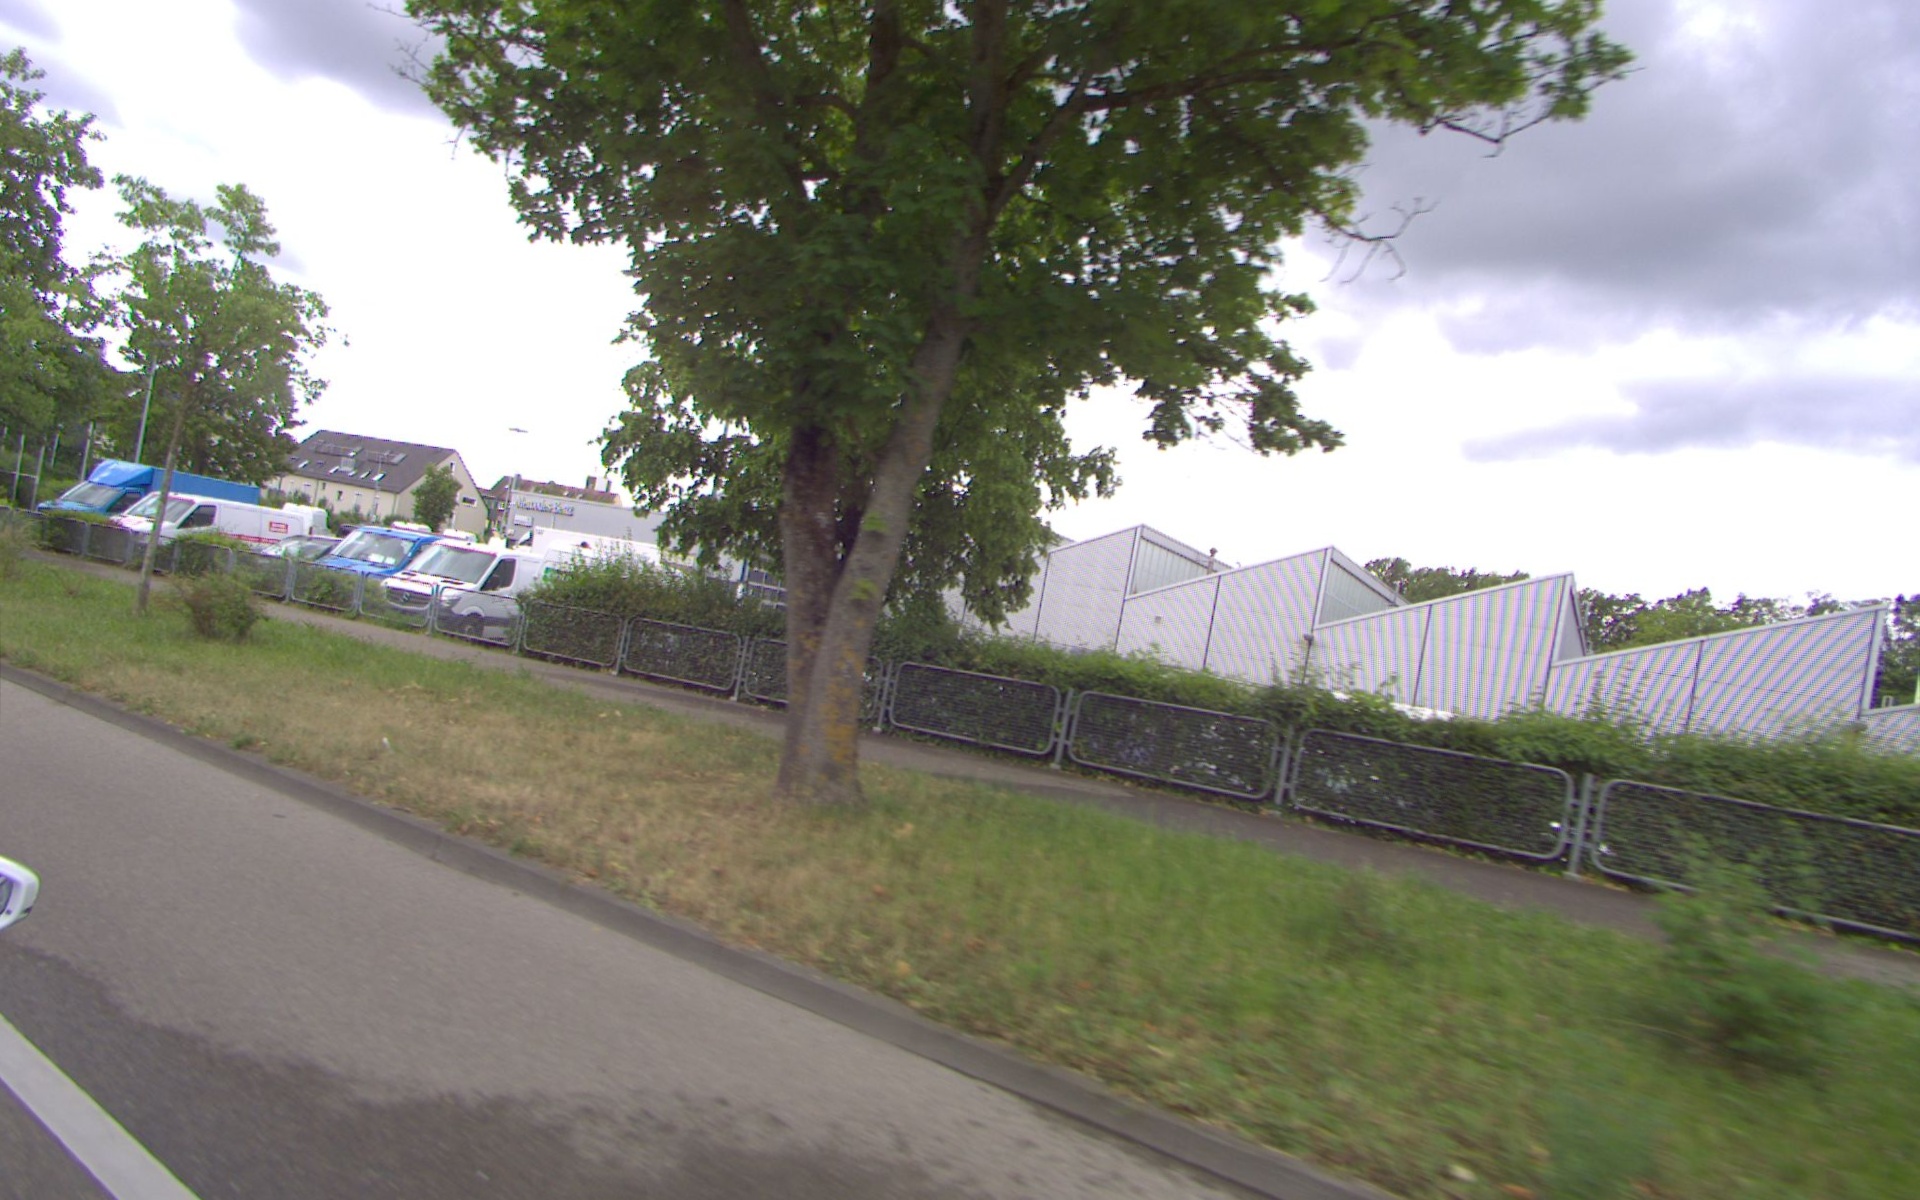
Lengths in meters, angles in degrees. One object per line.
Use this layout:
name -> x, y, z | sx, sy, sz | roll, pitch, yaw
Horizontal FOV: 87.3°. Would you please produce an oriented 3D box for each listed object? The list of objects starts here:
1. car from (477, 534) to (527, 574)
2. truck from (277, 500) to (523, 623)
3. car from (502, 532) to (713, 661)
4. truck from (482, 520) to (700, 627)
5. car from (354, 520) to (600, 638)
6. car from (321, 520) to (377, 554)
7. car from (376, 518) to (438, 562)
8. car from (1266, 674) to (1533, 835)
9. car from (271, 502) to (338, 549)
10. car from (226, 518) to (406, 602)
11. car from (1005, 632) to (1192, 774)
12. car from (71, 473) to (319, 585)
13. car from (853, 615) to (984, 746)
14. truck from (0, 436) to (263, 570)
car -> -35.888, -3.569, 78.952 | 2.228, 2.709, 5.432 | 9, 0, -14
truck -> -13.901, -0.788, 25.664 | 2.205, 2.236, 6.262 | 8, -3, 4
car -> -7.507, 0.087, 22.177 | 2.032, 2.212, 5.270 | 8, -3, 7
truck -> -16.885, -1.236, 45.984 | 9.363, 3.497, 2.866 | 7, -2, 20
car -> -11.010, -0.341, 23.627 | 2.032, 1.978, 5.837 | 8, -3, 10
car -> -42.239, -4.313, 69.614 | 2.035, 1.979, 4.481 | 9, 0, -17
car -> -39.834, -4.249, 72.635 | 2.228, 2.709, 5.432 | 9, 0, -14
car -> 7.547, 2.583, 17.919 | 2.037, 2.057, 4.574 | 9, -3, -8
car -> -44.104, -4.979, 67.828 | 2.232, 2.709, 5.423 | 9, 0, -20
car -> -17.443, -1.014, 27.515 | 1.963, 1.647, 4.006 | 8, -3, 4
car -> 2.414, 1.780, 18.891 | 2.037, 2.057, 4.574 | 9, -3, -8
car -> -23.472, -2.051, 31.334 | 2.317, 2.393, 6.040 | 8, -3, 8
car -> -0.619, 1.426, 18.545 | 1.887, 1.864, 4.361 | 8, -3, 2
truck -> -29.491, -3.290, 36.354 | 2.569, 3.517, 7.194 | 8, -1, 7
